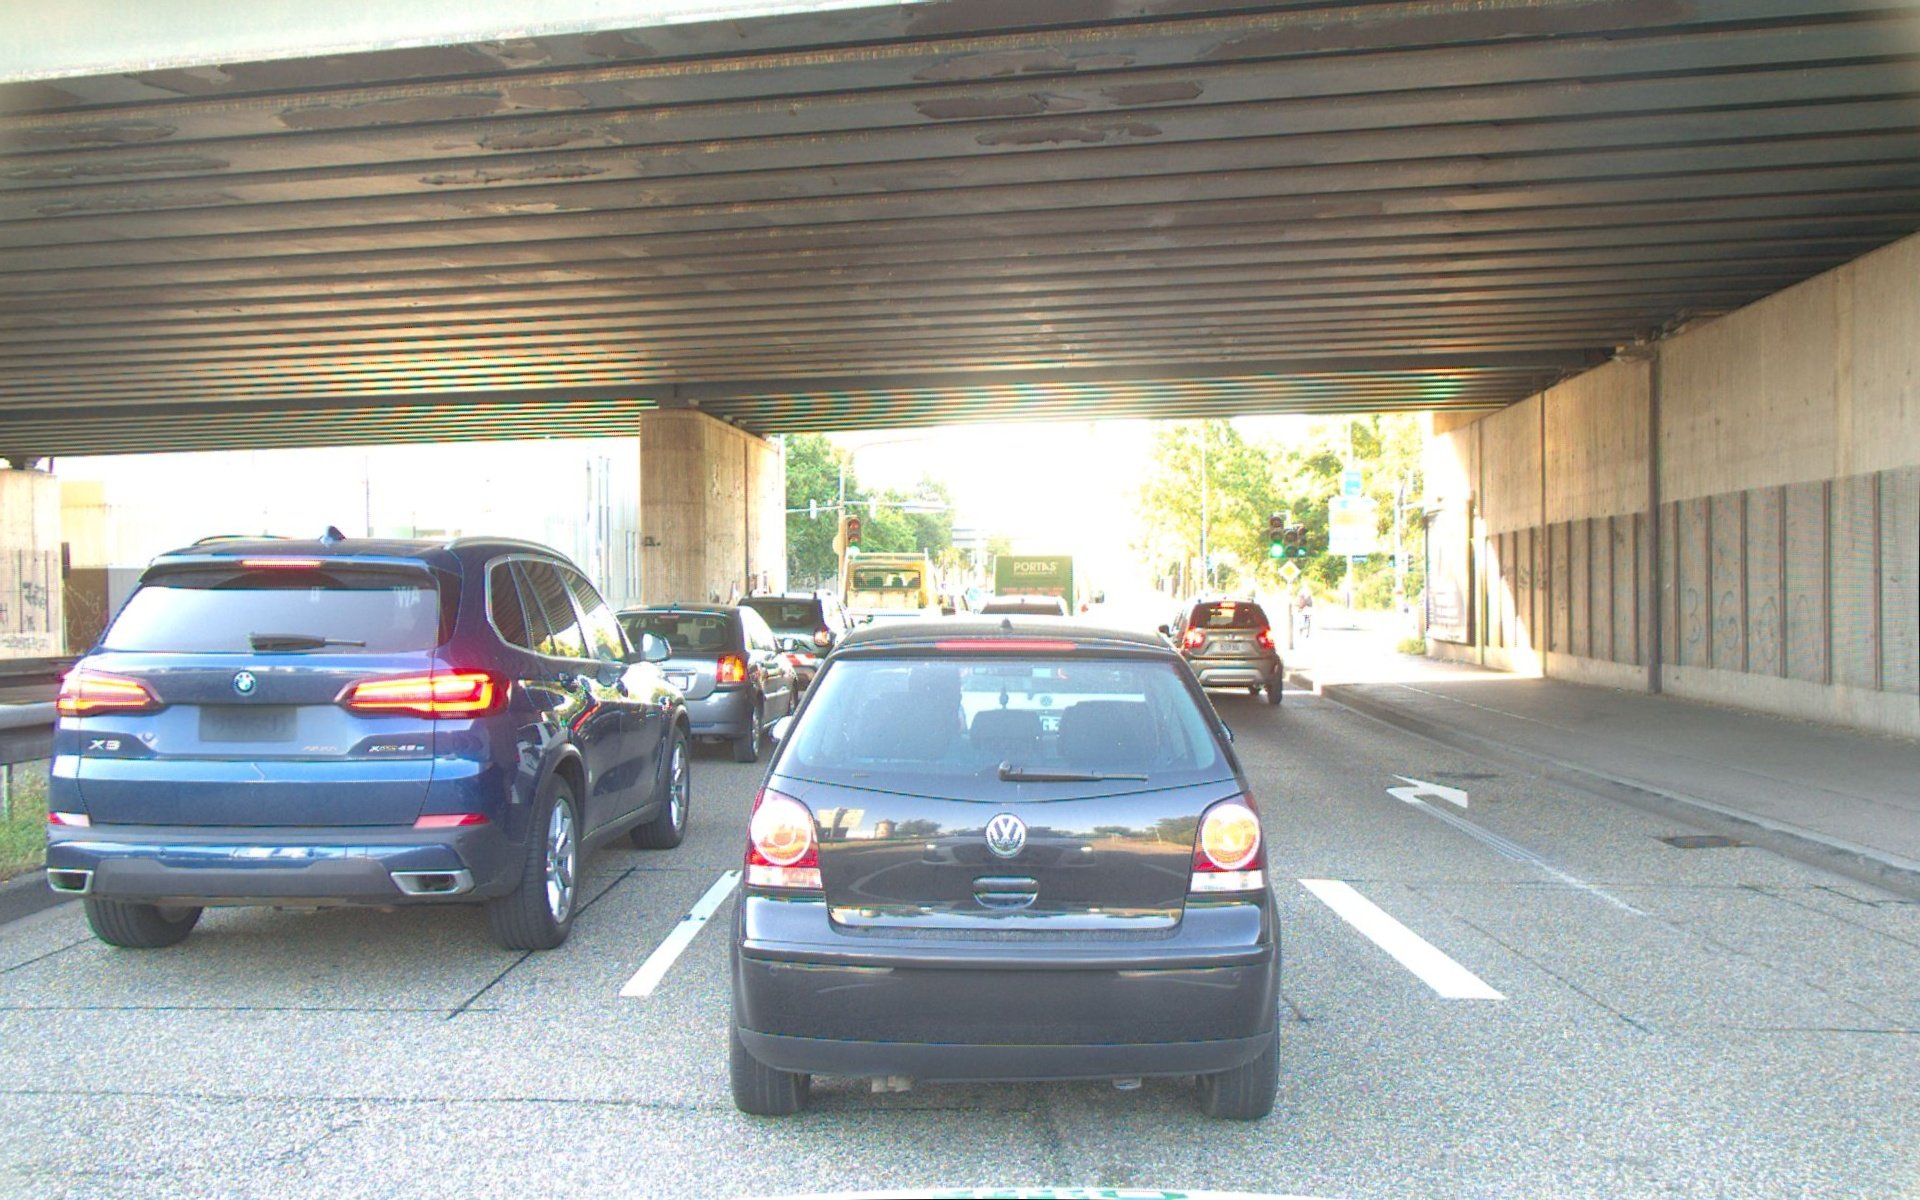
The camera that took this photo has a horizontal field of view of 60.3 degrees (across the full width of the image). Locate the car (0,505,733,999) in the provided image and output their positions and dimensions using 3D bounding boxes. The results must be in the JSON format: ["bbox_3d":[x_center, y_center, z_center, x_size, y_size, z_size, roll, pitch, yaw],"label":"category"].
[{"bbox_3d":[-2.524,0.561,8.306,1.952,1.764,4.534,1,0,2],"label":"car"}]

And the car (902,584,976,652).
[{"bbox_3d":[-0.523,0.473,44.293,1.582,1.709,3.685,1,0,5],"label":"car"}]

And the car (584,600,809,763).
[{"bbox_3d":[-2.529,0.735,16.634,1.583,1.434,3.683,1,0,1],"label":"car"}]

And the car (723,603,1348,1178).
[{"bbox_3d":[0.293,0.747,6.088,1.583,1.434,3.684,1,0,3],"label":"car"}]

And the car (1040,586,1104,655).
[{"bbox_3d":[2.969,0.529,43.371,1.582,1.709,3.685,1,0,5],"label":"car"}]

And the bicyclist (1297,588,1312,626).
[{"bbox_3d":[11.300,0.231,54.190,0.418,1.254,0.460,-1,-1,6],"label":"bicyclist"}]

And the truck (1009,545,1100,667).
[{"bbox_3d":[2.299,0.136,39.323,1.954,2.715,4.003,1,0,6],"label":"truck"}]

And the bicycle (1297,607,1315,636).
[{"bbox_3d":[11.315,0.697,54.138,0.428,0.930,1.027,-2,-1,6],"label":"bicycle"}]

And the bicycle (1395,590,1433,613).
[{"bbox_3d":[21.293,0.058,77.530,1.628,1.008,0.578,-1,3,23],"label":"bicycle"}]

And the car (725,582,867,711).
[{"bbox_3d":[-2.318,0.634,24.149,1.583,1.709,3.683,1,0,1],"label":"car"}]

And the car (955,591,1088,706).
[{"bbox_3d":[1.015,0.693,25.364,1.758,1.586,4.003,1,0,6],"label":"car"}]

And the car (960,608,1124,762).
[{"bbox_3d":[0.806,0.818,17.821,1.546,1.438,4.062,1,0,1],"label":"car"}]

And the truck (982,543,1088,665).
[{"bbox_3d":[1.633,0.085,34.487,1.954,2.356,4.003,1,0,6],"label":"truck"}]

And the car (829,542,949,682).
[{"bbox_3d":[-1.357,0.233,33.812,2.092,2.621,5.087,1,0,1],"label":"car"}]

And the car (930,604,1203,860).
[{"bbox_3d":[0.630,0.766,11.523,1.546,1.438,4.062,1,0,1],"label":"car"}]

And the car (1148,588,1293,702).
[{"bbox_3d":[4.095,0.671,26.547,1.701,1.659,4.062,1,0,0],"label":"car"}]
